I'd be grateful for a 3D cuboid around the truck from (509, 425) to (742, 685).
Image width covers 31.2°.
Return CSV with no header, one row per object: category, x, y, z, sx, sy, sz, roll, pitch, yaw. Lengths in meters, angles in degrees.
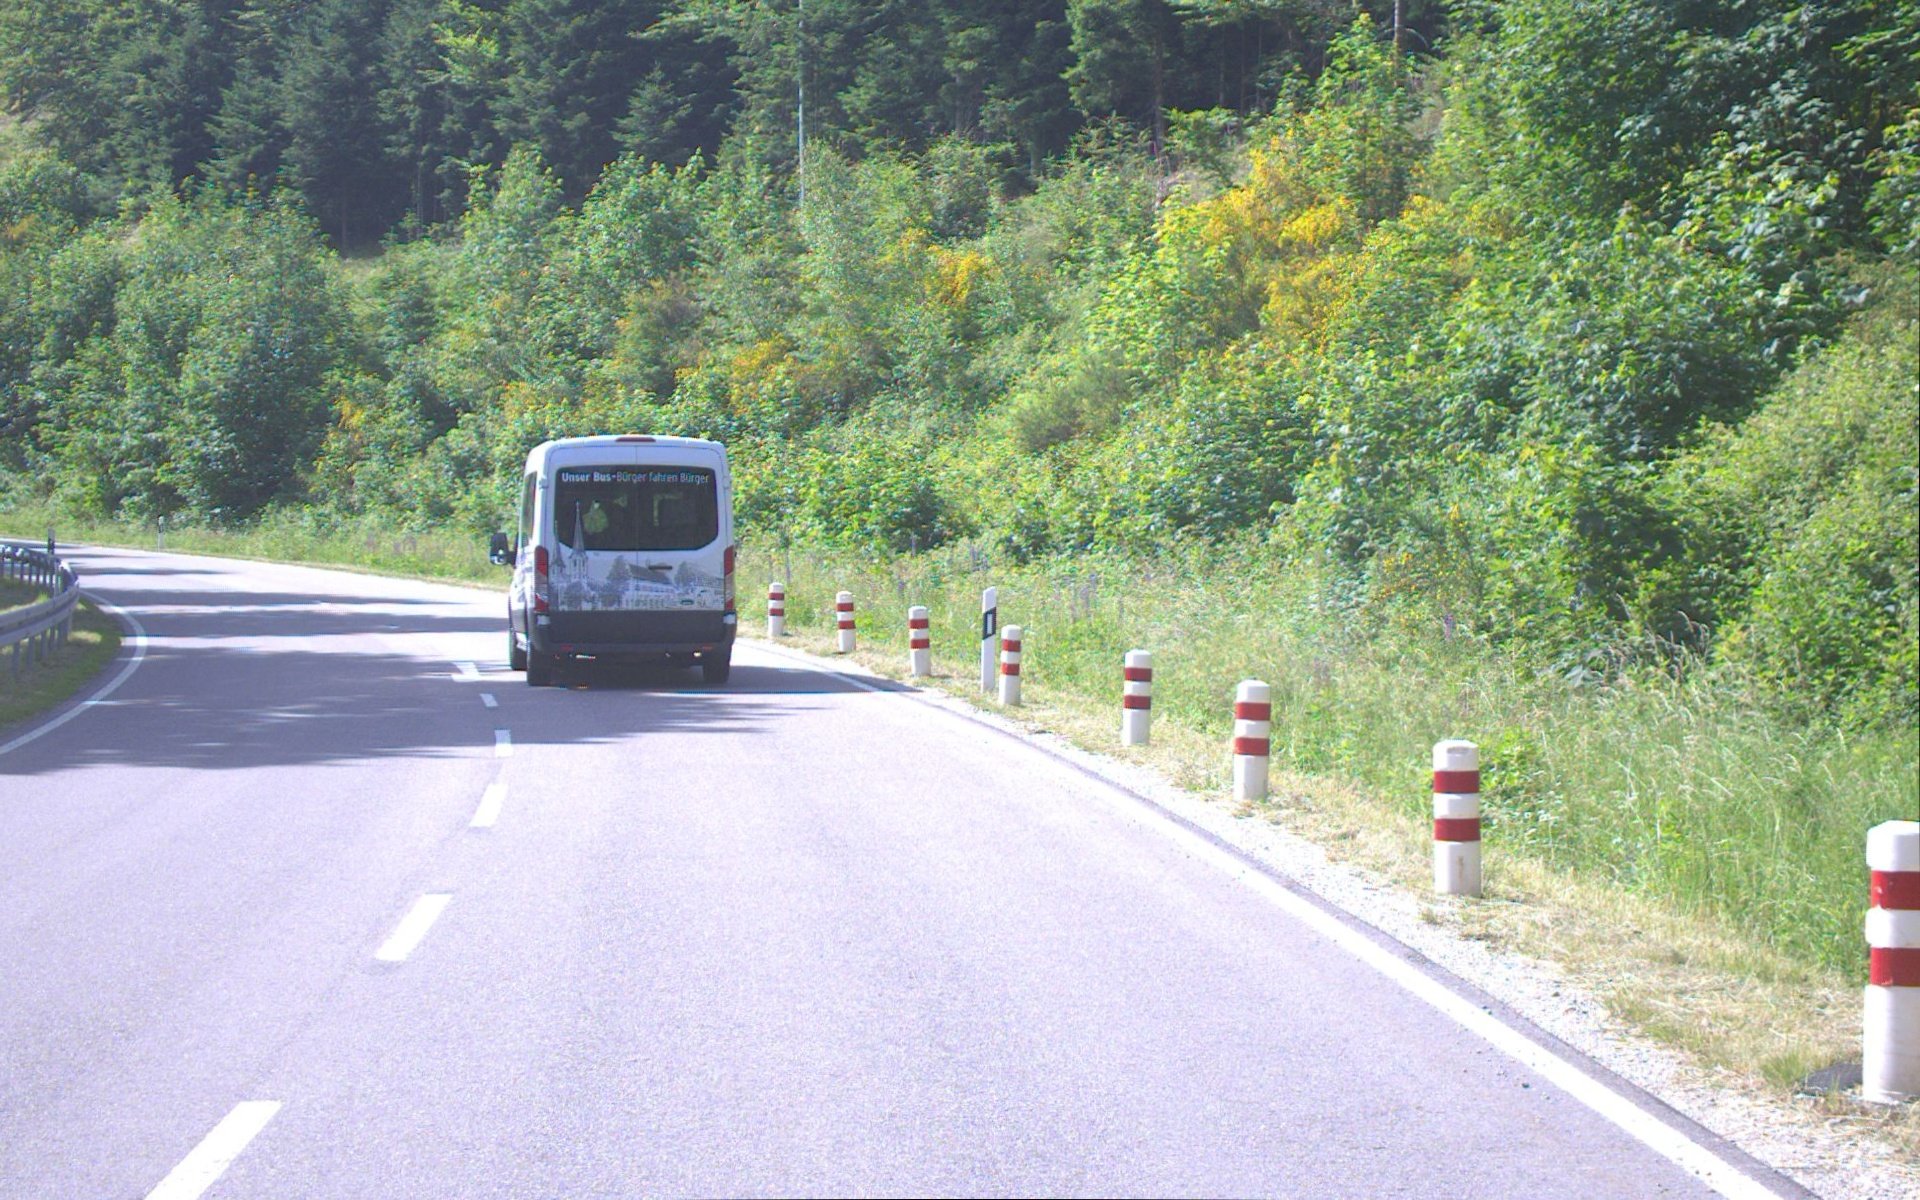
truck,-3.558,-0.505,35.698,2.115,2.489,5.361,0,2,-9
